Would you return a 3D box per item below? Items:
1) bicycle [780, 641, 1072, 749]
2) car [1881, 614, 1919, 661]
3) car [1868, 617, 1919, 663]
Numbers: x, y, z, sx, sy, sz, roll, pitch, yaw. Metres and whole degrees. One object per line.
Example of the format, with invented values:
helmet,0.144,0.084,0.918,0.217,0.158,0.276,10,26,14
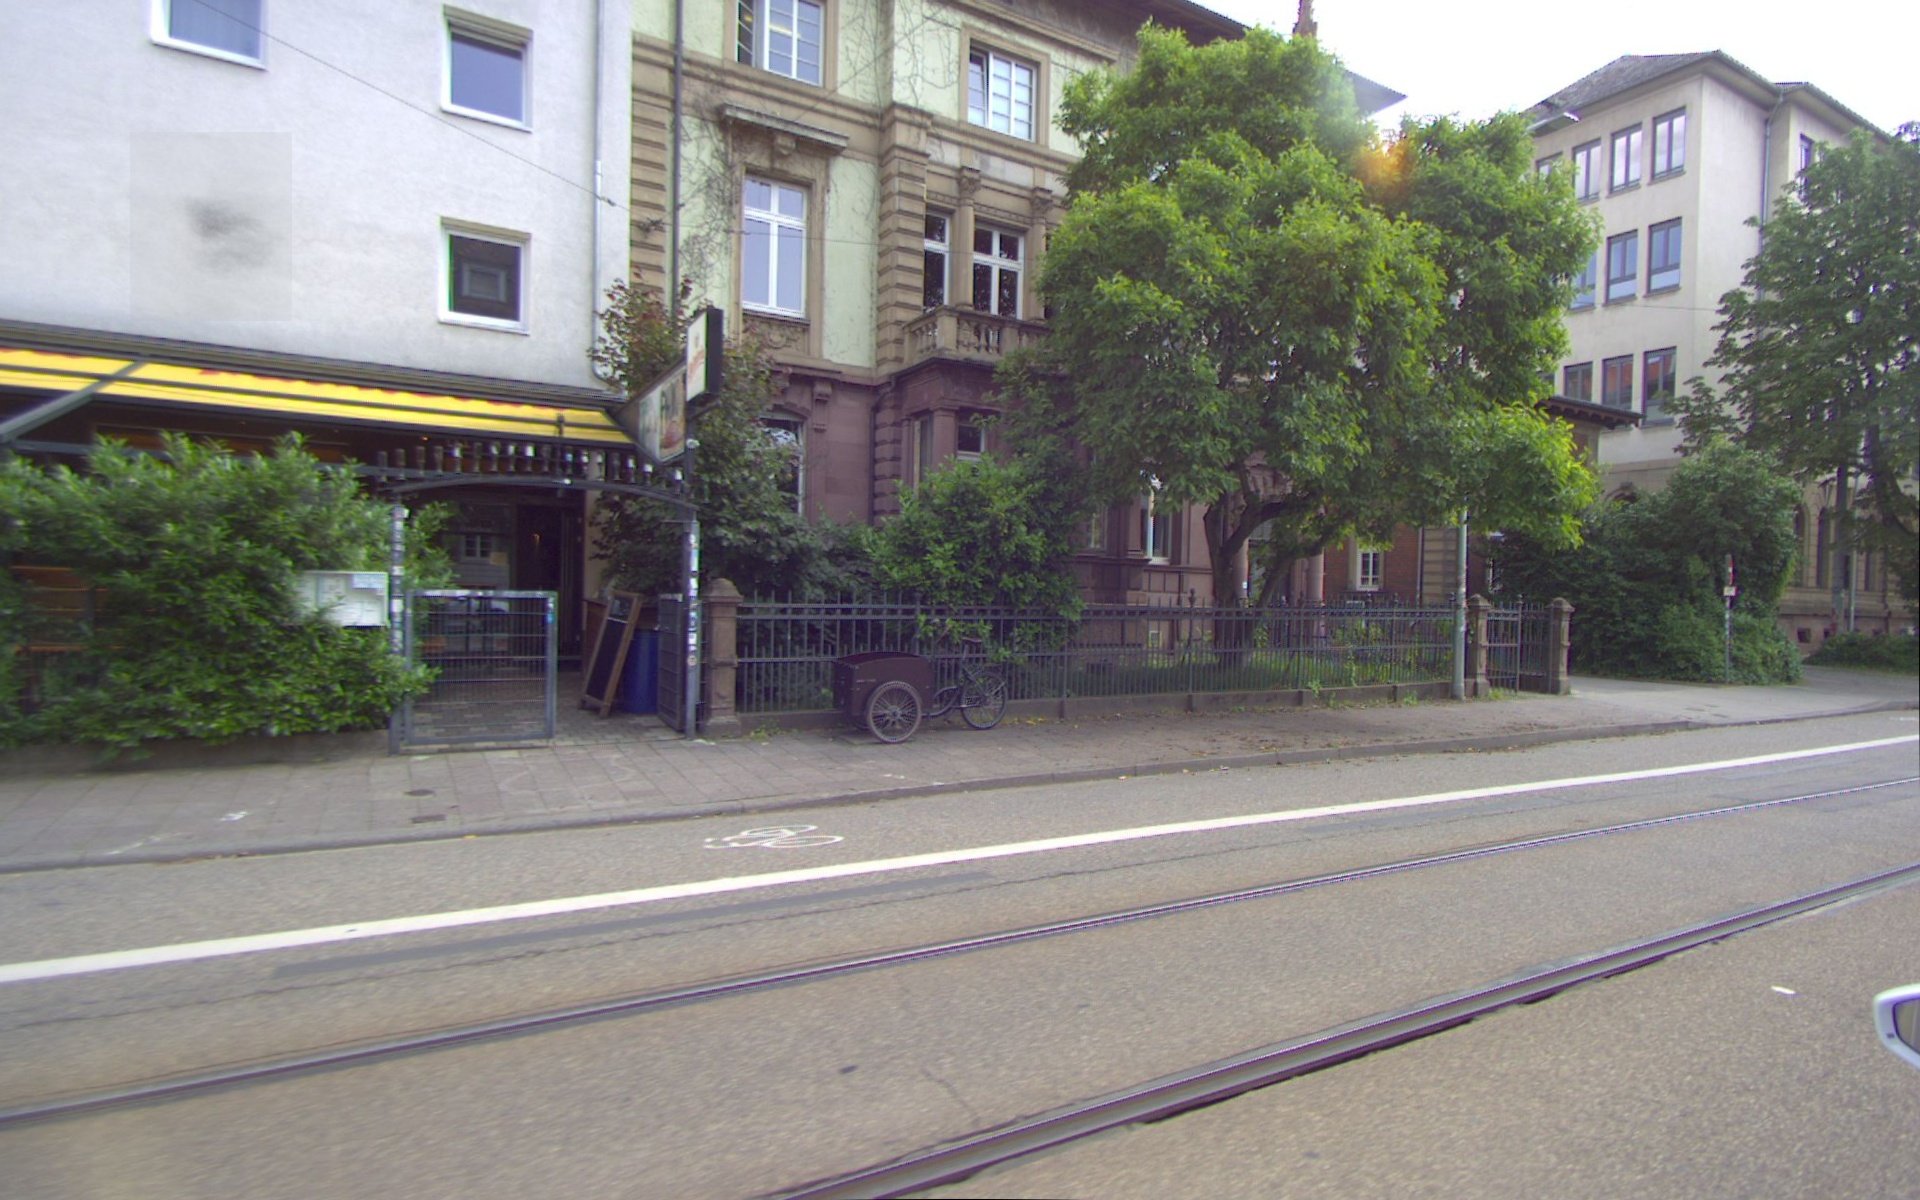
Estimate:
bicycle,-0.334,0.962,10.859,2.953,0.921,1.137,1,3,-30
car,35.165,1.383,34.969,4.165,1.571,1.924,3,2,29
car,33.117,1.373,33.306,4.169,1.466,1.789,1,0,33
